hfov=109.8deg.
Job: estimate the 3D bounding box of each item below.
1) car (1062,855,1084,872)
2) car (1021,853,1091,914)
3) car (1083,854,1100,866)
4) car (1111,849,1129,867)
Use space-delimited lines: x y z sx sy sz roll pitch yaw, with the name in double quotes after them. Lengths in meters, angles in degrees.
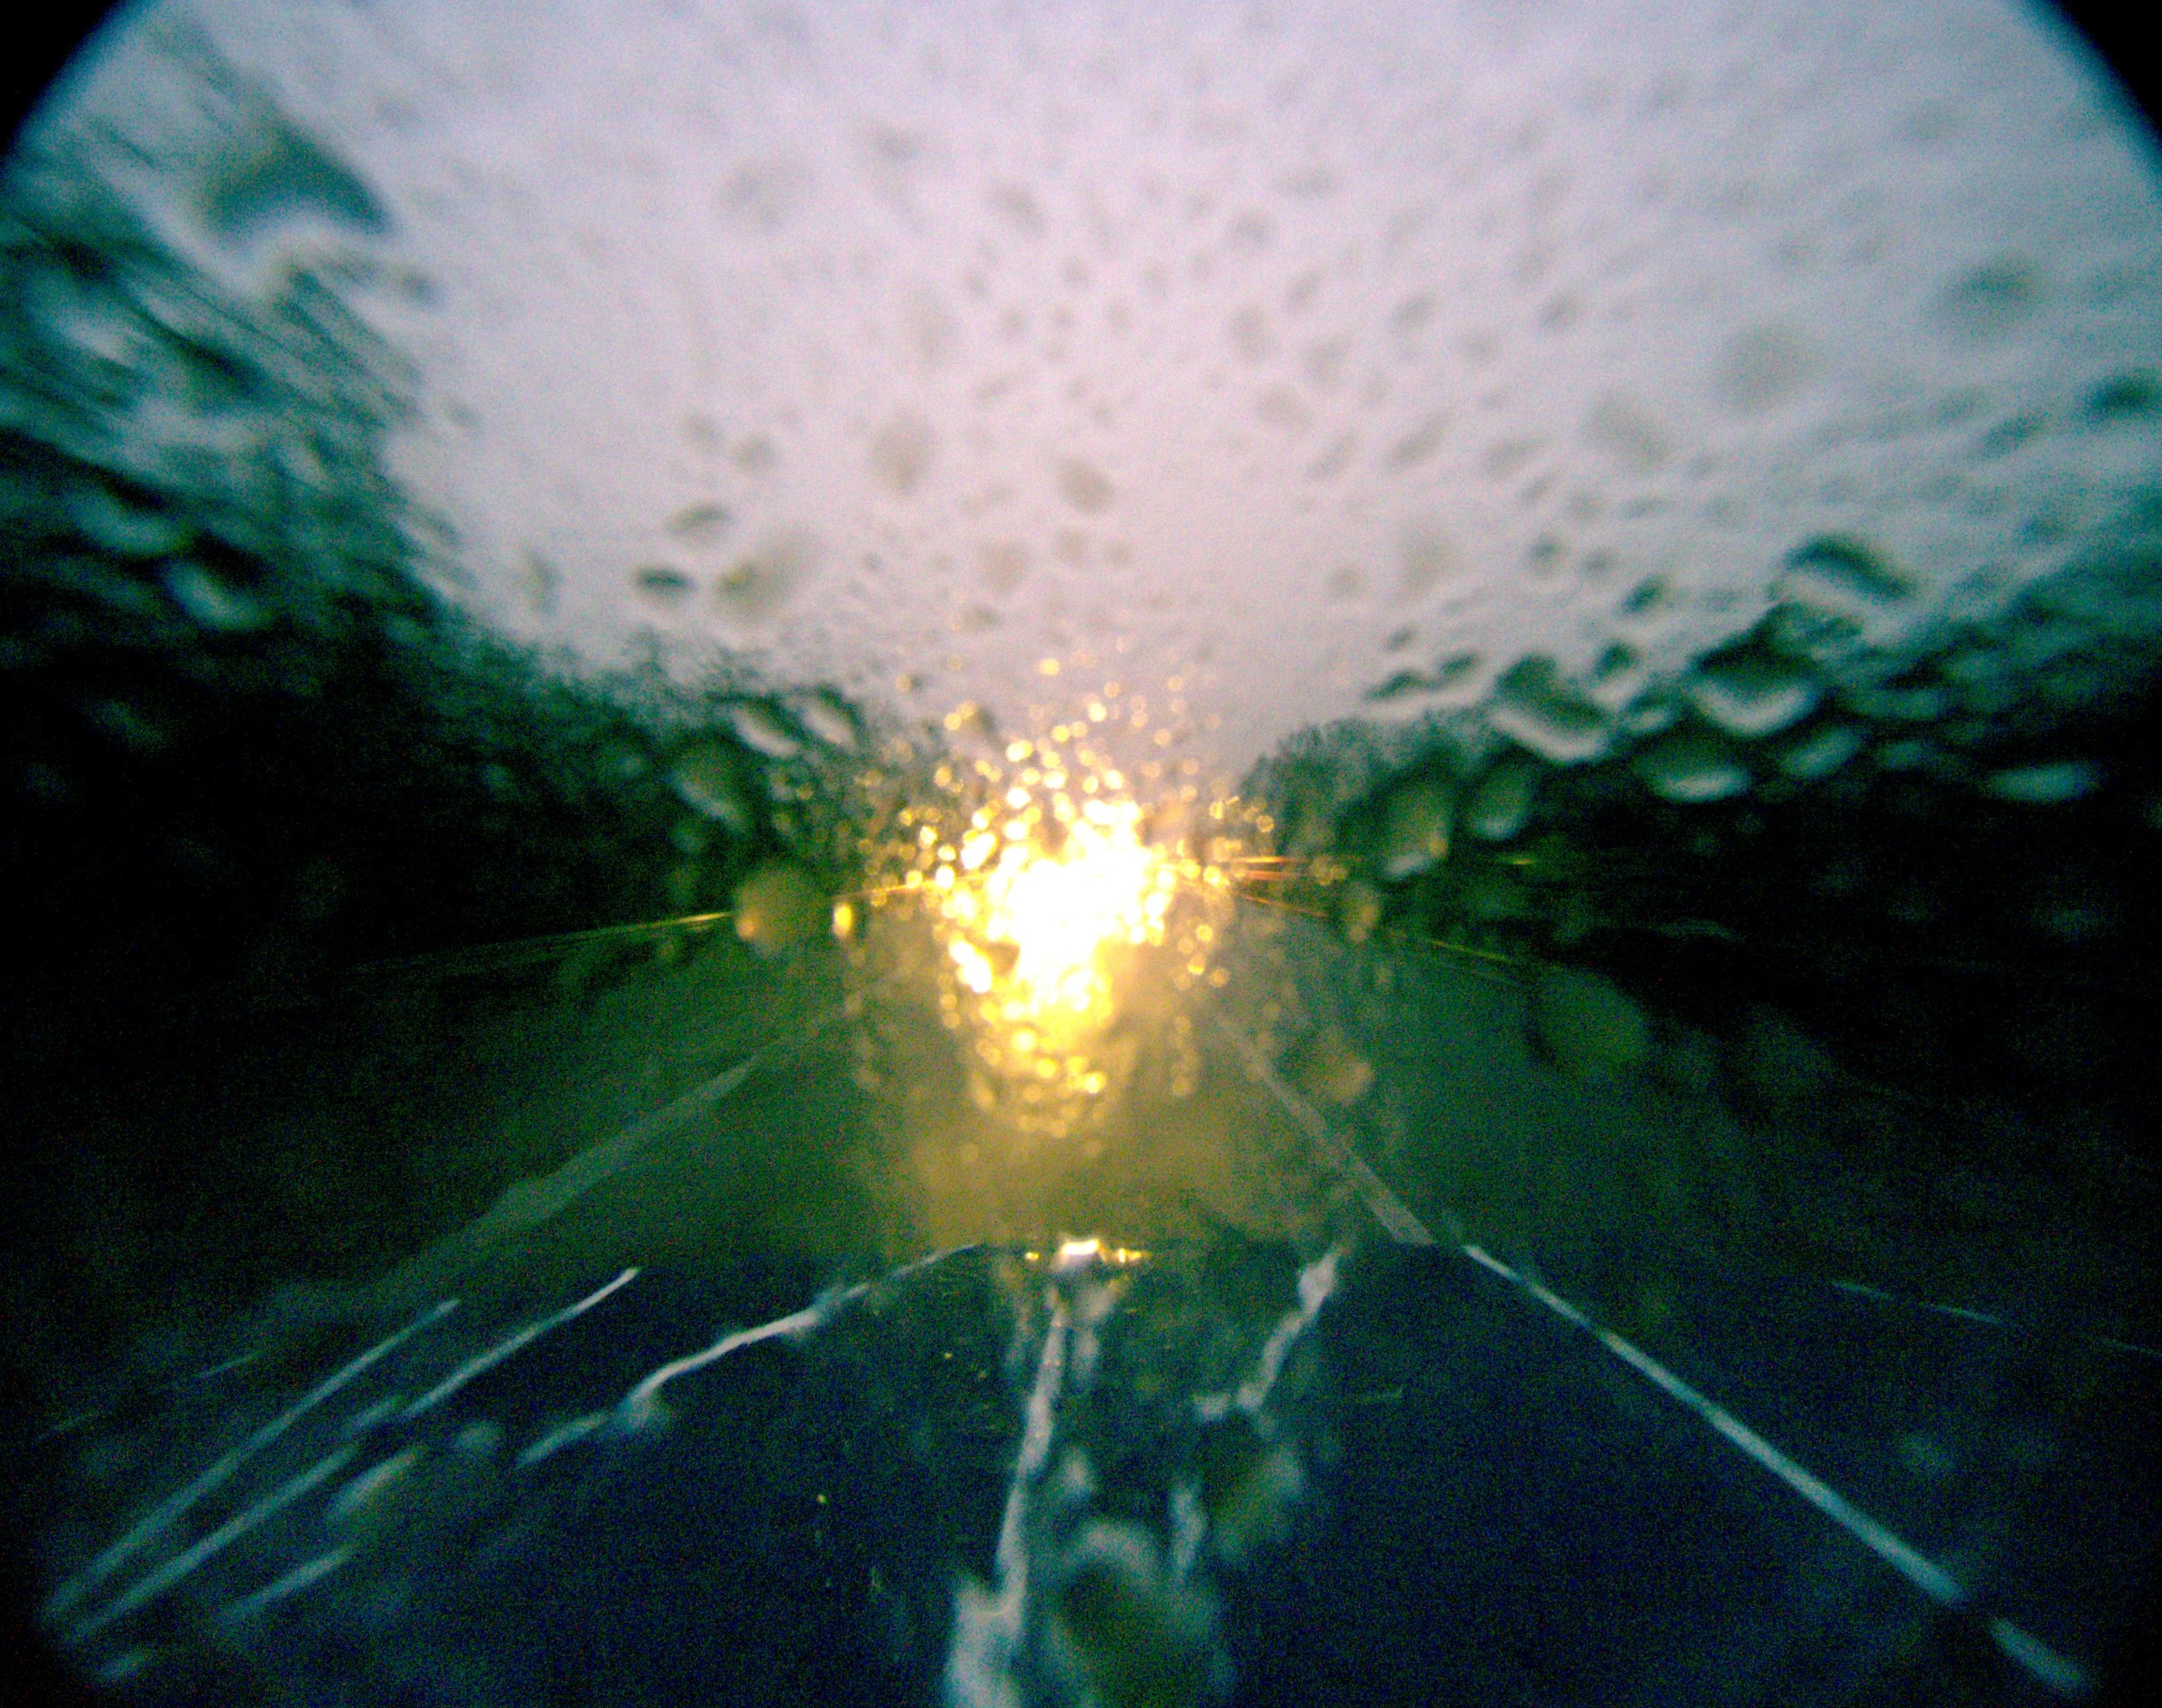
-0.660 0.781 64.934 1.602 1.357 3.306 -3 0 4 "car"
-0.748 0.894 25.268 1.929 1.781 3.941 -2 0 3 "car"
1.394 0.709 95.550 1.741 1.441 4.001 -2 0 6 "car"
4.456 0.411 87.473 1.767 1.922 3.999 -2 0 -1 "car"
